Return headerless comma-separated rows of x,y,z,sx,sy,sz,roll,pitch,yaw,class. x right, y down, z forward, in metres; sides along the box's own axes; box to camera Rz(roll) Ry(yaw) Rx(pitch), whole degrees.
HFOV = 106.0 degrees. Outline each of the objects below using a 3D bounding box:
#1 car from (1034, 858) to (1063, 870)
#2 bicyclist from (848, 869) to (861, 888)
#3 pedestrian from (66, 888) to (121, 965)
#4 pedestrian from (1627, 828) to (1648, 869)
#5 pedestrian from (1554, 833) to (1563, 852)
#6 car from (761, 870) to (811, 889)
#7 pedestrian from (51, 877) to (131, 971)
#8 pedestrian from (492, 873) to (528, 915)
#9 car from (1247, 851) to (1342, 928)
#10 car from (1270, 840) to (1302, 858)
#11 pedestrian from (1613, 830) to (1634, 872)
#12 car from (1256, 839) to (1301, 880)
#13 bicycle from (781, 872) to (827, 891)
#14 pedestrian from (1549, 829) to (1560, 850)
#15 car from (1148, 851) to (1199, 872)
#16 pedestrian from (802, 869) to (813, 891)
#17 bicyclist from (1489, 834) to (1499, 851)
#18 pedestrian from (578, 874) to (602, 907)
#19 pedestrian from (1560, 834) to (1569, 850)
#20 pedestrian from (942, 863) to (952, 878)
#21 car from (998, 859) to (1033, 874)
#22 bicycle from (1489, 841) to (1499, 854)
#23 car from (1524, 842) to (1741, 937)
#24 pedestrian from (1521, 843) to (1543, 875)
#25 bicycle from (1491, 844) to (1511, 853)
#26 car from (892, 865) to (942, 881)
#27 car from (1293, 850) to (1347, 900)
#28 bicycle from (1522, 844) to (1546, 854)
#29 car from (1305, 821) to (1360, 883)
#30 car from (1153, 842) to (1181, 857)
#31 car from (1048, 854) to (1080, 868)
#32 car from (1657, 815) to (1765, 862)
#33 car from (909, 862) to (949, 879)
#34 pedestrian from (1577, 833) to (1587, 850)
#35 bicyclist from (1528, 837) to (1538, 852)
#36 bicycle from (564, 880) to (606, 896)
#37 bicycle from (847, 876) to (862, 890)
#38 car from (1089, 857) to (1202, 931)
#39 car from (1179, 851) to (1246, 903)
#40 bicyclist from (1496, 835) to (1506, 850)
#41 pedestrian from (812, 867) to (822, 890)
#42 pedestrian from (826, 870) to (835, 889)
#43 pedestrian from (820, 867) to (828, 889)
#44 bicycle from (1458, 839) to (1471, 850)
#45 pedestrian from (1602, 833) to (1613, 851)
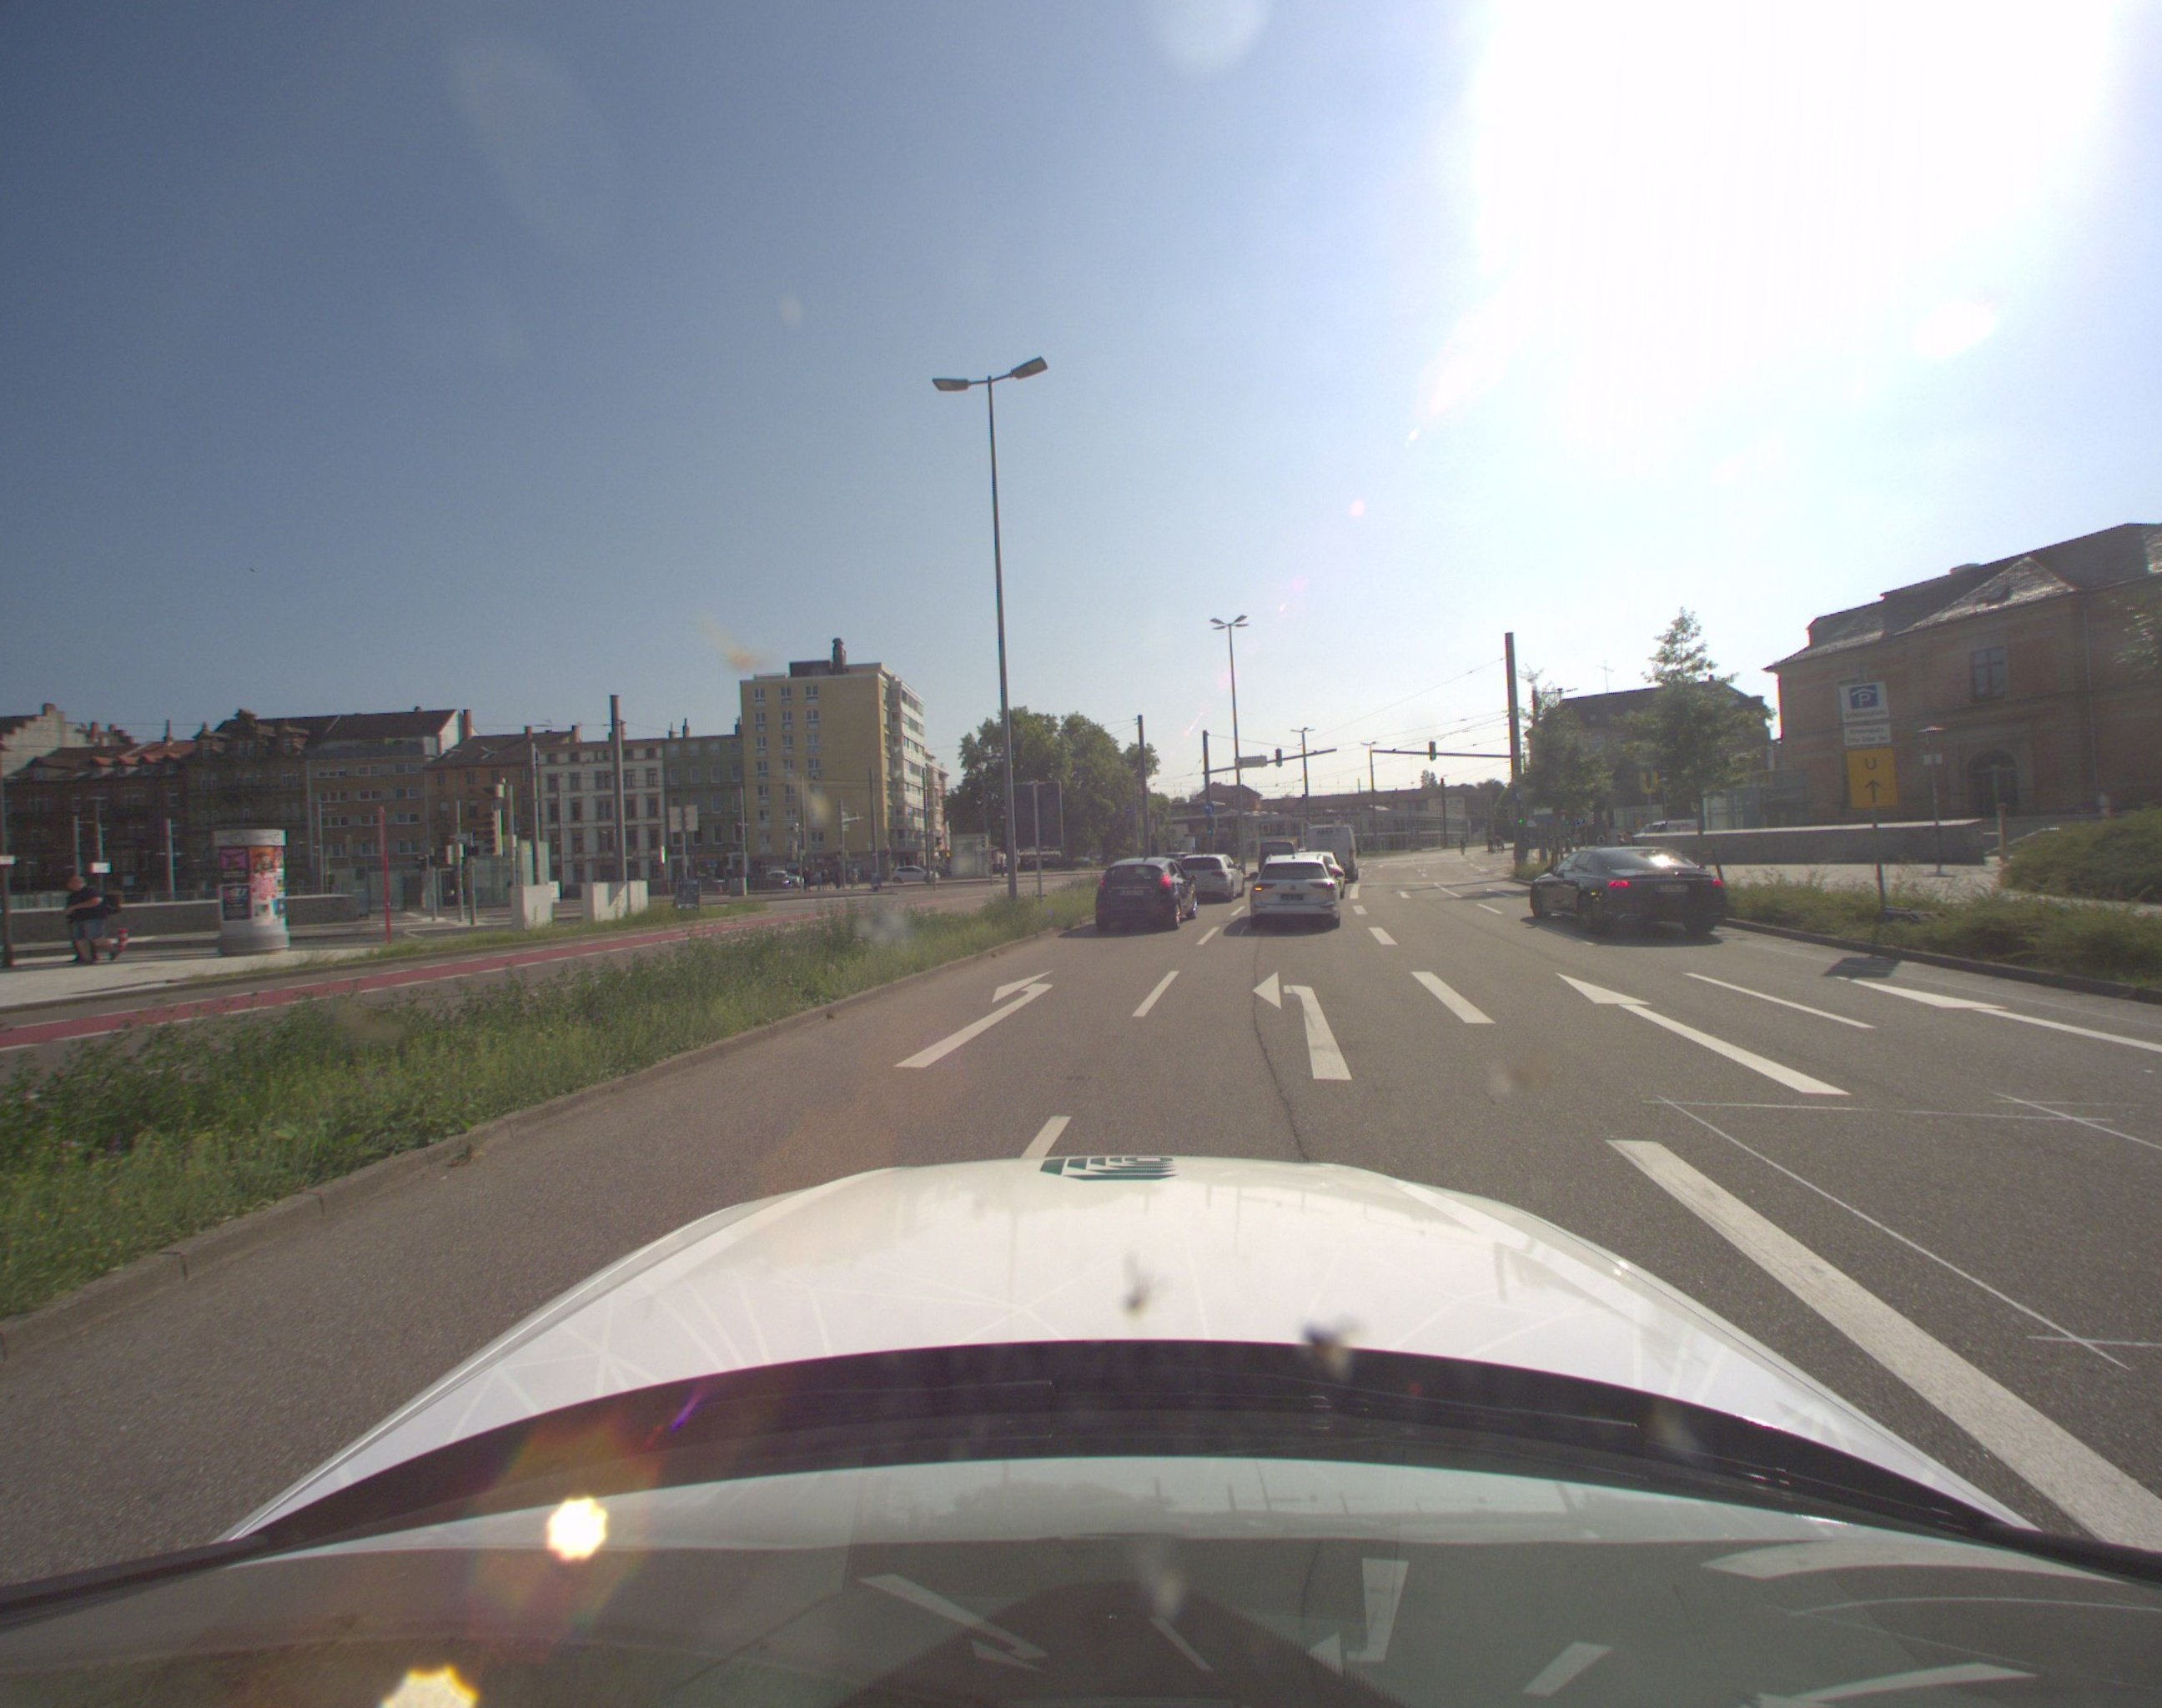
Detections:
-4.516,1.415,113.682,3.972,1.558,1.728,-3,-1,1,car
-17.879,1.936,64.274,0.724,1.434,0.689,-2,-1,-2,bicyclist
-21.309,1.556,17.575,0.493,1.579,0.510,-2,2,17,pedestrian
22.383,-0.219,32.757,0.608,1.628,0.537,-3,-1,36,pedestrian
49.574,-1.192,84.543,0.739,2.013,0.811,-3,-1,29,pedestrian
-25.504,2.195,70.473,3.722,1.393,1.588,-3,0,2,car
-20.565,1.421,16.940,0.870,1.819,0.901,-1,3,43,pedestrian
-29.233,2.053,41.735,0.954,2.013,1.023,-3,2,2,pedestrian
4.450,0.679,16.902,1.672,1.387,3.649,-2,-1,16,car
23.930,-0.600,94.898,1.974,2.013,4.694,-3,-1,36,car
21.641,-0.139,32.461,0.608,1.639,0.537,-3,-1,35,pedestrian
10.660,0.263,43.656,2.008,2.008,4.704,-2,0,17,car
-26.725,2.688,78.647,3.974,1.551,1.196,-3,2,0,bicycle
45.508,-1.389,78.327,0.796,1.888,0.753,-3,-1,28,pedestrian
7.200,0.596,63.599,1.635,1.502,4.044,-1,-1,-36,car
-21.157,1.990,63.073,0.450,1.684,0.551,-2,2,26,pedestrian
37.650,-1.077,74.256,0.706,1.529,0.811,-3,-1,29,bicyclist
-27.736,2.039,46.018,0.774,1.786,0.857,-1,2,-1,pedestrian
41.302,-1.035,69.557,0.651,1.360,0.663,-2,2,32,pedestrian
-14.182,1.735,86.050,0.848,1.621,0.541,-3,-1,-2,pedestrian
-7.976,1.534,99.661,3.972,1.558,1.728,-3,-1,1,car
37.649,-0.604,74.204,0.699,1.061,1.994,-3,0,29,bicycle
9.821,0.554,15.010,1.806,1.440,4.894,-2,0,15,car
20.133,0.225,36.374,0.632,1.362,0.636,-3,-1,12,pedestrian
44.652,-0.604,86.559,1.780,0.885,0.766,-3,-1,32,bicycle
-13.558,1.593,67.442,3.816,1.180,1.576,-1,0,0,car
7.501,0.623,25.651,1.478,1.403,3.958,-2,-1,16,car
46.277,-0.472,83.222,2.032,0.894,0.751,-3,-1,32,bicycle
11.473,-0.077,37.126,2.171,2.549,4.705,-2,-1,18,car
12.912,-0.711,122.293,3.959,2.013,2.008,-2,2,13,car
-2.166,0.934,104.363,3.972,1.558,1.728,-3,-1,1,car
30.276,-0.772,39.189,3.979,2.013,1.751,-3,2,-4,car
-17.080,1.869,91.655,3.971,1.557,1.871,-3,2,2,car
41.779,-1.060,67.921,0.651,1.360,0.663,-2,2,32,pedestrian
46.196,-0.948,83.269,0.796,1.460,0.753,-3,-1,32,bicyclist
-48.139,3.274,79.097,3.517,1.347,0.774,-3,2,0,bicycle
-17.862,2.273,64.258,0.725,0.984,1.730,-2,0,-2,bicycle
1.523,0.797,17.675,1.688,1.368,3.979,-2,0,15,car
4.166,0.683,25.377,1.477,1.415,3.665,-2,0,18,car
44.626,-1.248,86.565,0.796,1.498,0.753,-3,-1,32,bicyclist
-20.568,1.912,63.488,0.451,1.684,0.549,-2,2,14,pedestrian
-19.972,2.024,64.896,0.501,1.487,0.435,-4,2,-36,pedestrian
-20.381,1.899,64.560,0.458,1.684,0.435,-4,2,-36,pedestrian
35.662,-0.903,75.741,0.764,0.976,2.164,-2,-1,33,bicycle
40.893,-0.915,63.245,0.651,1.360,0.663,-2,2,32,pedestrian
